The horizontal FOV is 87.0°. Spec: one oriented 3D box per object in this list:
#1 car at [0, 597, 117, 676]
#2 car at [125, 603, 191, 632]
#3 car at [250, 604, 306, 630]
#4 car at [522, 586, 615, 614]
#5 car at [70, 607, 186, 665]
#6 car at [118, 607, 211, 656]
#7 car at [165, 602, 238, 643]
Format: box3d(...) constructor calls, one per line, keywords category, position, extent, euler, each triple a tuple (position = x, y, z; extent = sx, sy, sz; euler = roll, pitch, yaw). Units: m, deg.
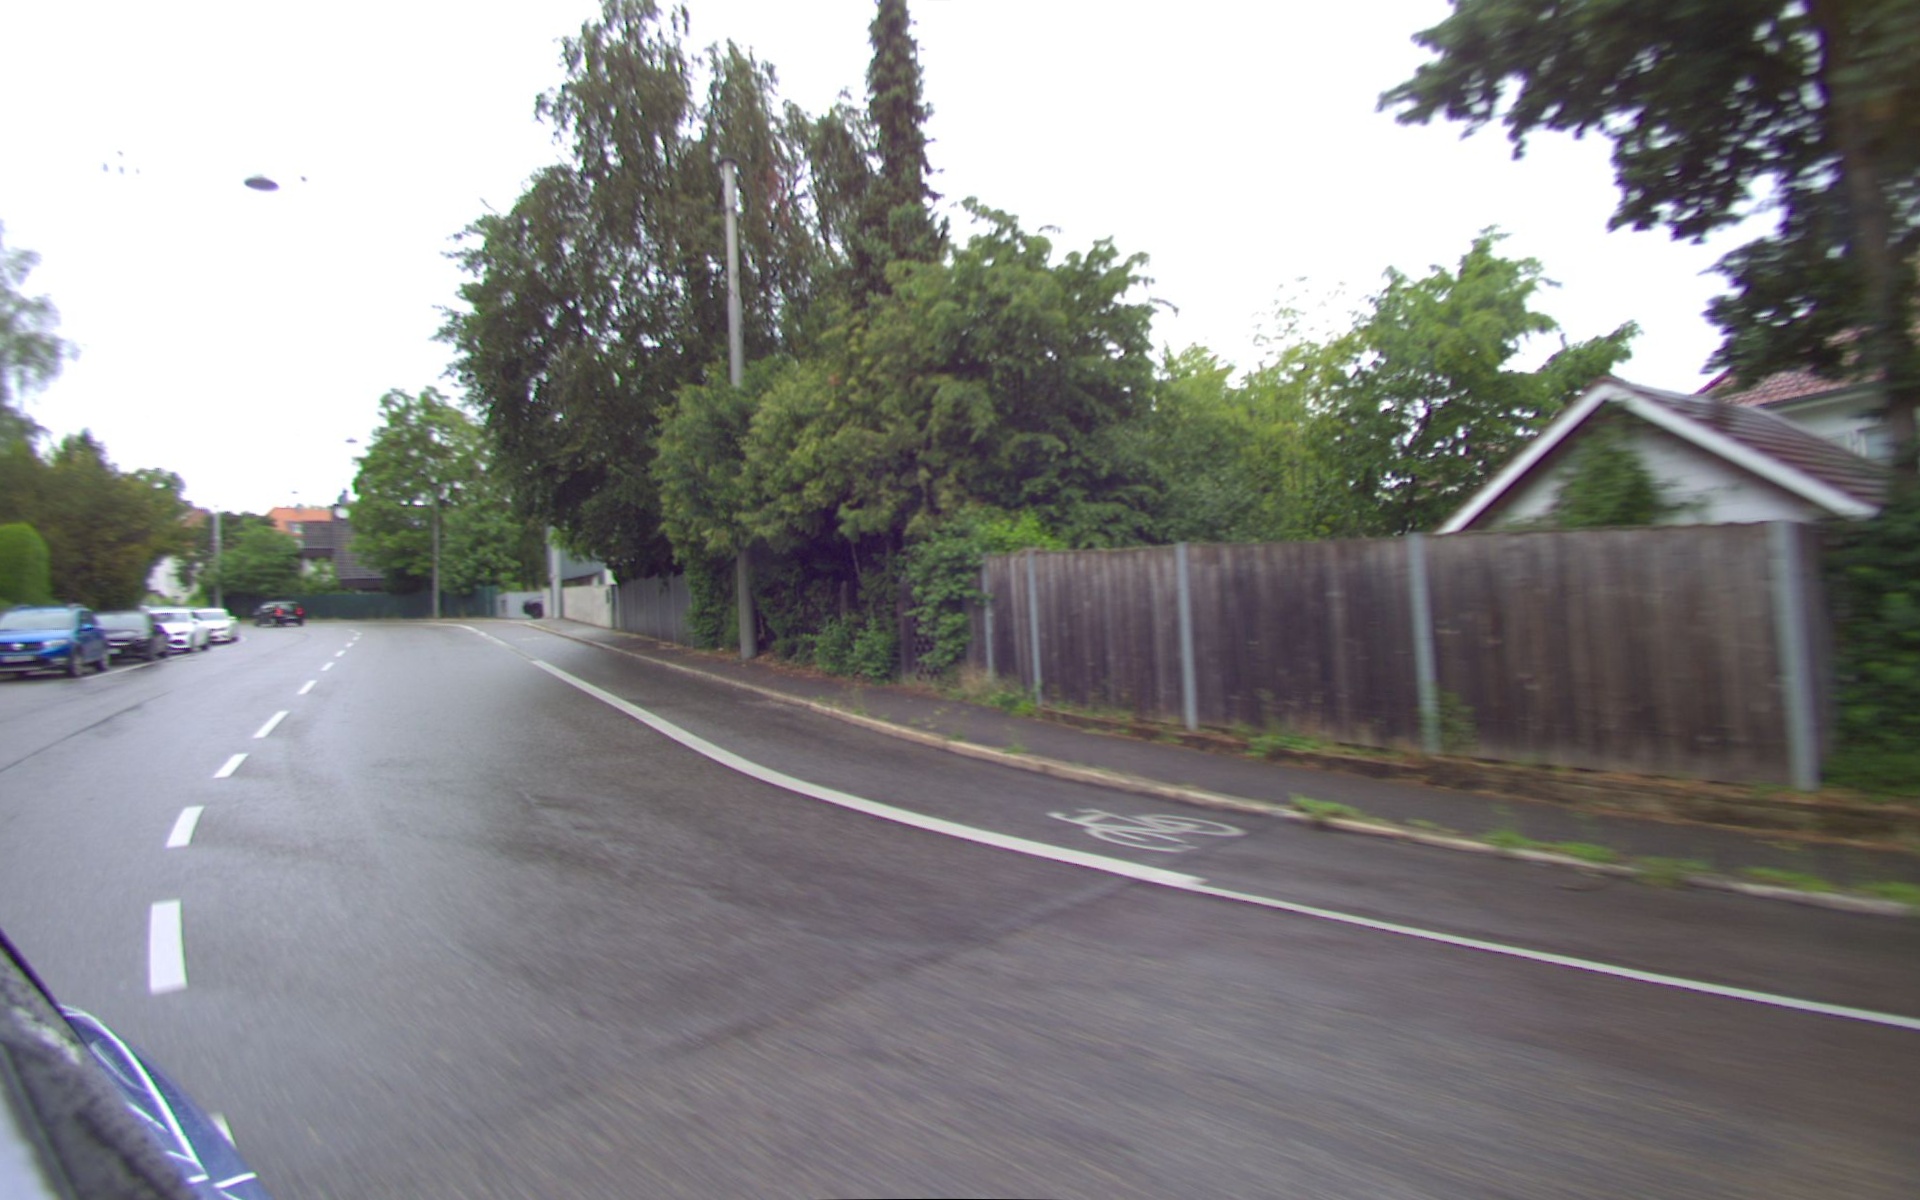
box3d(category="car", position=(-20.618, 0.787, 22.806), extent=(1.709, 1.605, 4.267), euler=(-2, 0, -29))
box3d(category="car", position=(-44.094, 0.997, 55.641), extent=(3.727, 1.483, 1.668), euler=(-1, -3, 33))
box3d(category="car", position=(-41.319, 1.006, 61.312), extent=(3.797, 1.430, 1.634), euler=(0, 4, 38))
box3d(category="car", position=(-19.789, -0.011, 51.184), extent=(3.950, 1.311, 1.895), euler=(-2, 0, 5))
box3d(category="car", position=(-23.367, 0.961, 28.575), extent=(1.665, 1.466, 4.267), euler=(-2, 0, -28))
box3d(category="car", position=(-26.464, 1.009, 33.797), extent=(1.782, 1.466, 4.267), euler=(-2, 0, -29))
box3d(category="car", position=(-30.038, 0.874, 40.190), extent=(1.755, 1.446, 4.582), euler=(-4, 1, -31))
